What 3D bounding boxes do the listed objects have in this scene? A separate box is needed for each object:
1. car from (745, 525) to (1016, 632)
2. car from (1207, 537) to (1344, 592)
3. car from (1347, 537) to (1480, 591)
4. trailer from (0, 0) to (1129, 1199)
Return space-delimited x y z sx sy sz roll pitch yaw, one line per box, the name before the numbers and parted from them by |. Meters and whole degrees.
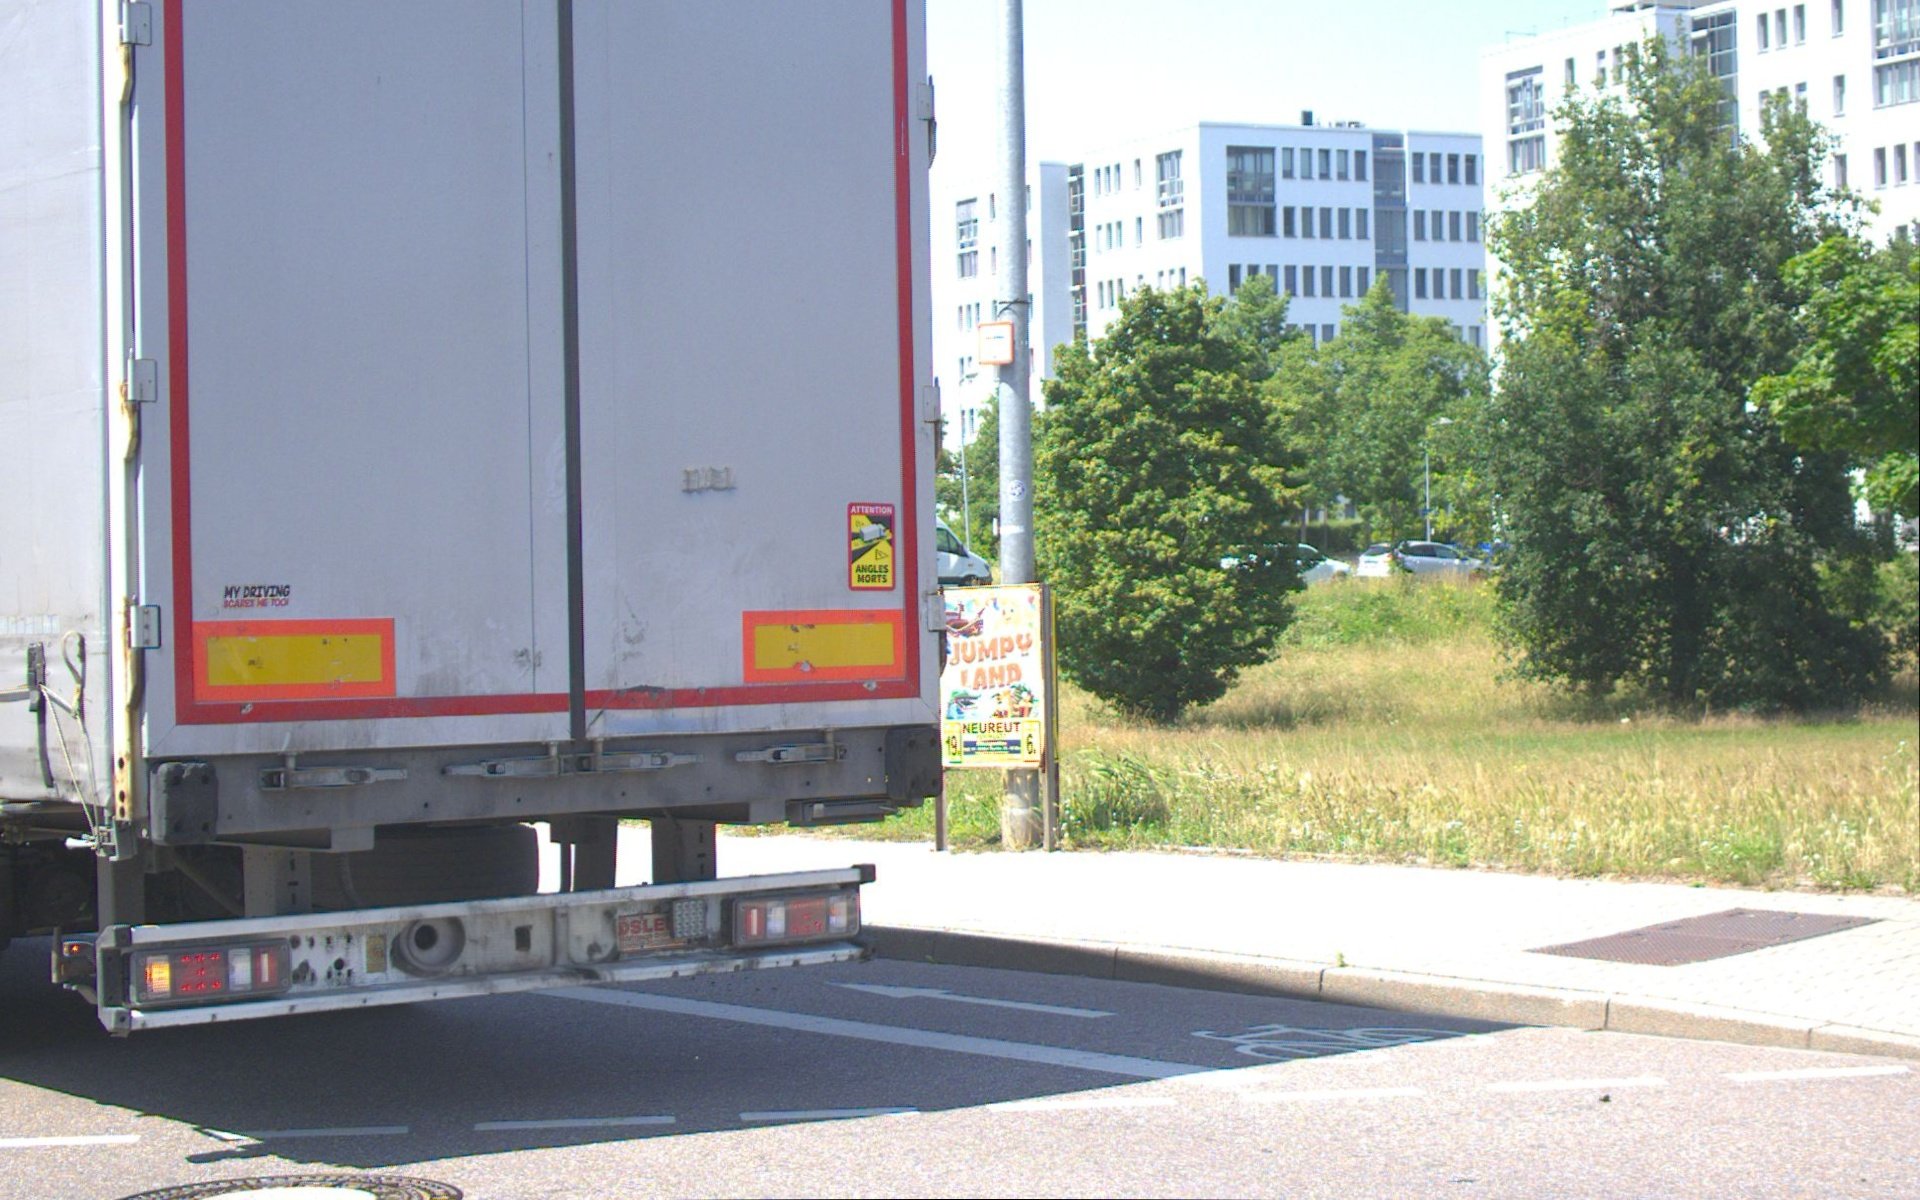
car | -2.118 -0.584 92.752 6.831 2.792 2.668 -1 -1 -31
car | 9.130 -1.019 99.374 3.615 1.528 1.706 1 0 -30
car | 13.437 -1.046 101.818 3.615 1.528 1.706 1 0 -30
trailer | -3.779 -0.640 12.759 3.078 4.056 9.805 -1 1 -38
